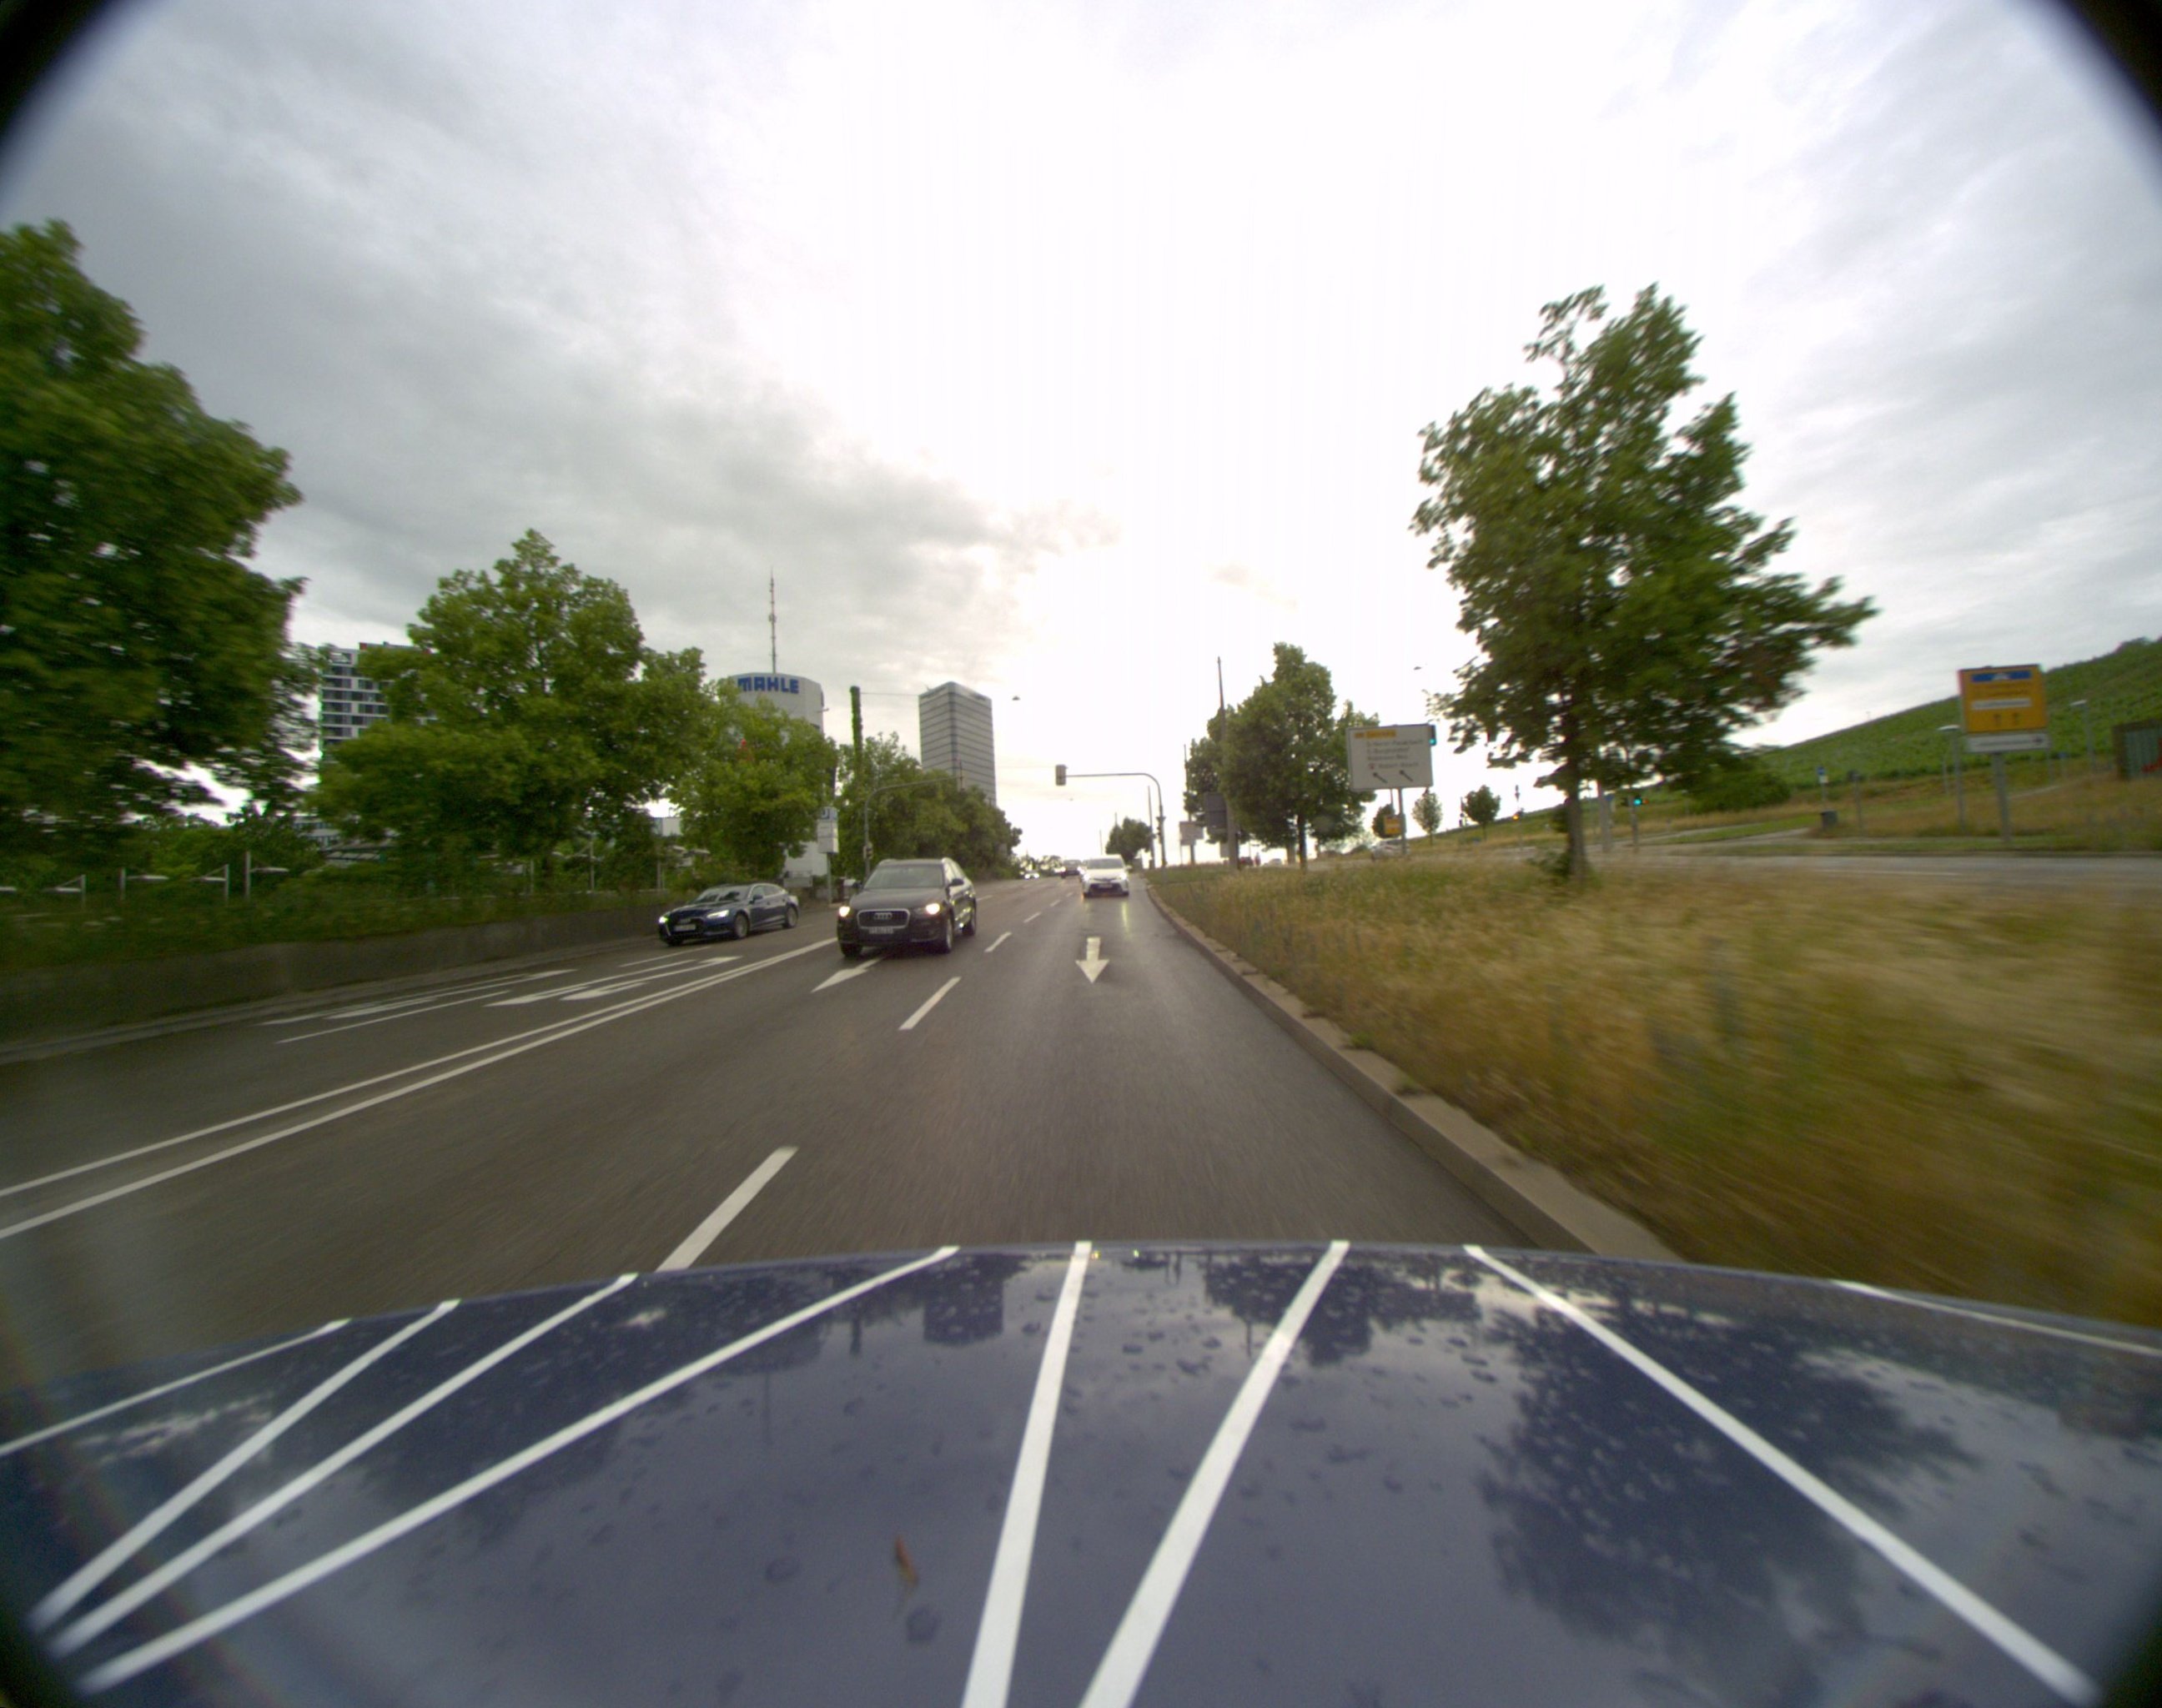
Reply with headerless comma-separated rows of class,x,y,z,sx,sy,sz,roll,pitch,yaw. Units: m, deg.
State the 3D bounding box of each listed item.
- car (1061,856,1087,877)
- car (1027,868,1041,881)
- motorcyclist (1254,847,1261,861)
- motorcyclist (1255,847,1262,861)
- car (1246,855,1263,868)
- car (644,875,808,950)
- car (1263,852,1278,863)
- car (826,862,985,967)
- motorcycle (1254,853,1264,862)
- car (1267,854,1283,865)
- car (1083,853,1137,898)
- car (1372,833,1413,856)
car,-0.512,0.977,59.485,1.729,1.463,4.265,-3,-1,2
car,-6.178,2.705,100.314,1.636,1.466,3.677,-3,-3,-6
motorcyclist,20.696,0.057,89.013,0.583,1.586,0.643,-3,-1,3
motorcyclist,20.652,0.047,88.326,0.613,1.572,0.582,-3,-1,3
car,22.765,0.938,99.704,1.540,1.495,3.667,-3,0,23
car,-8.866,1.399,19.463,1.876,1.417,4.348,-3,1,3
car,32.211,0.601,129.180,1.771,1.638,4.178,-3,0,4
car,-2.998,0.970,13.920,1.729,1.525,4.127,-3,0,2
motorcycle,20.695,0.399,88.517,0.618,1.043,2.503,-3,-1,3
car,28.646,0.774,112.320,1.655,1.454,3.776,-3,-1,4
car,1.167,0.753,28.716,1.826,1.574,4.299,0,0,5
car,20.189,-0.616,49.418,1.541,1.381,3.930,-3,0,9
